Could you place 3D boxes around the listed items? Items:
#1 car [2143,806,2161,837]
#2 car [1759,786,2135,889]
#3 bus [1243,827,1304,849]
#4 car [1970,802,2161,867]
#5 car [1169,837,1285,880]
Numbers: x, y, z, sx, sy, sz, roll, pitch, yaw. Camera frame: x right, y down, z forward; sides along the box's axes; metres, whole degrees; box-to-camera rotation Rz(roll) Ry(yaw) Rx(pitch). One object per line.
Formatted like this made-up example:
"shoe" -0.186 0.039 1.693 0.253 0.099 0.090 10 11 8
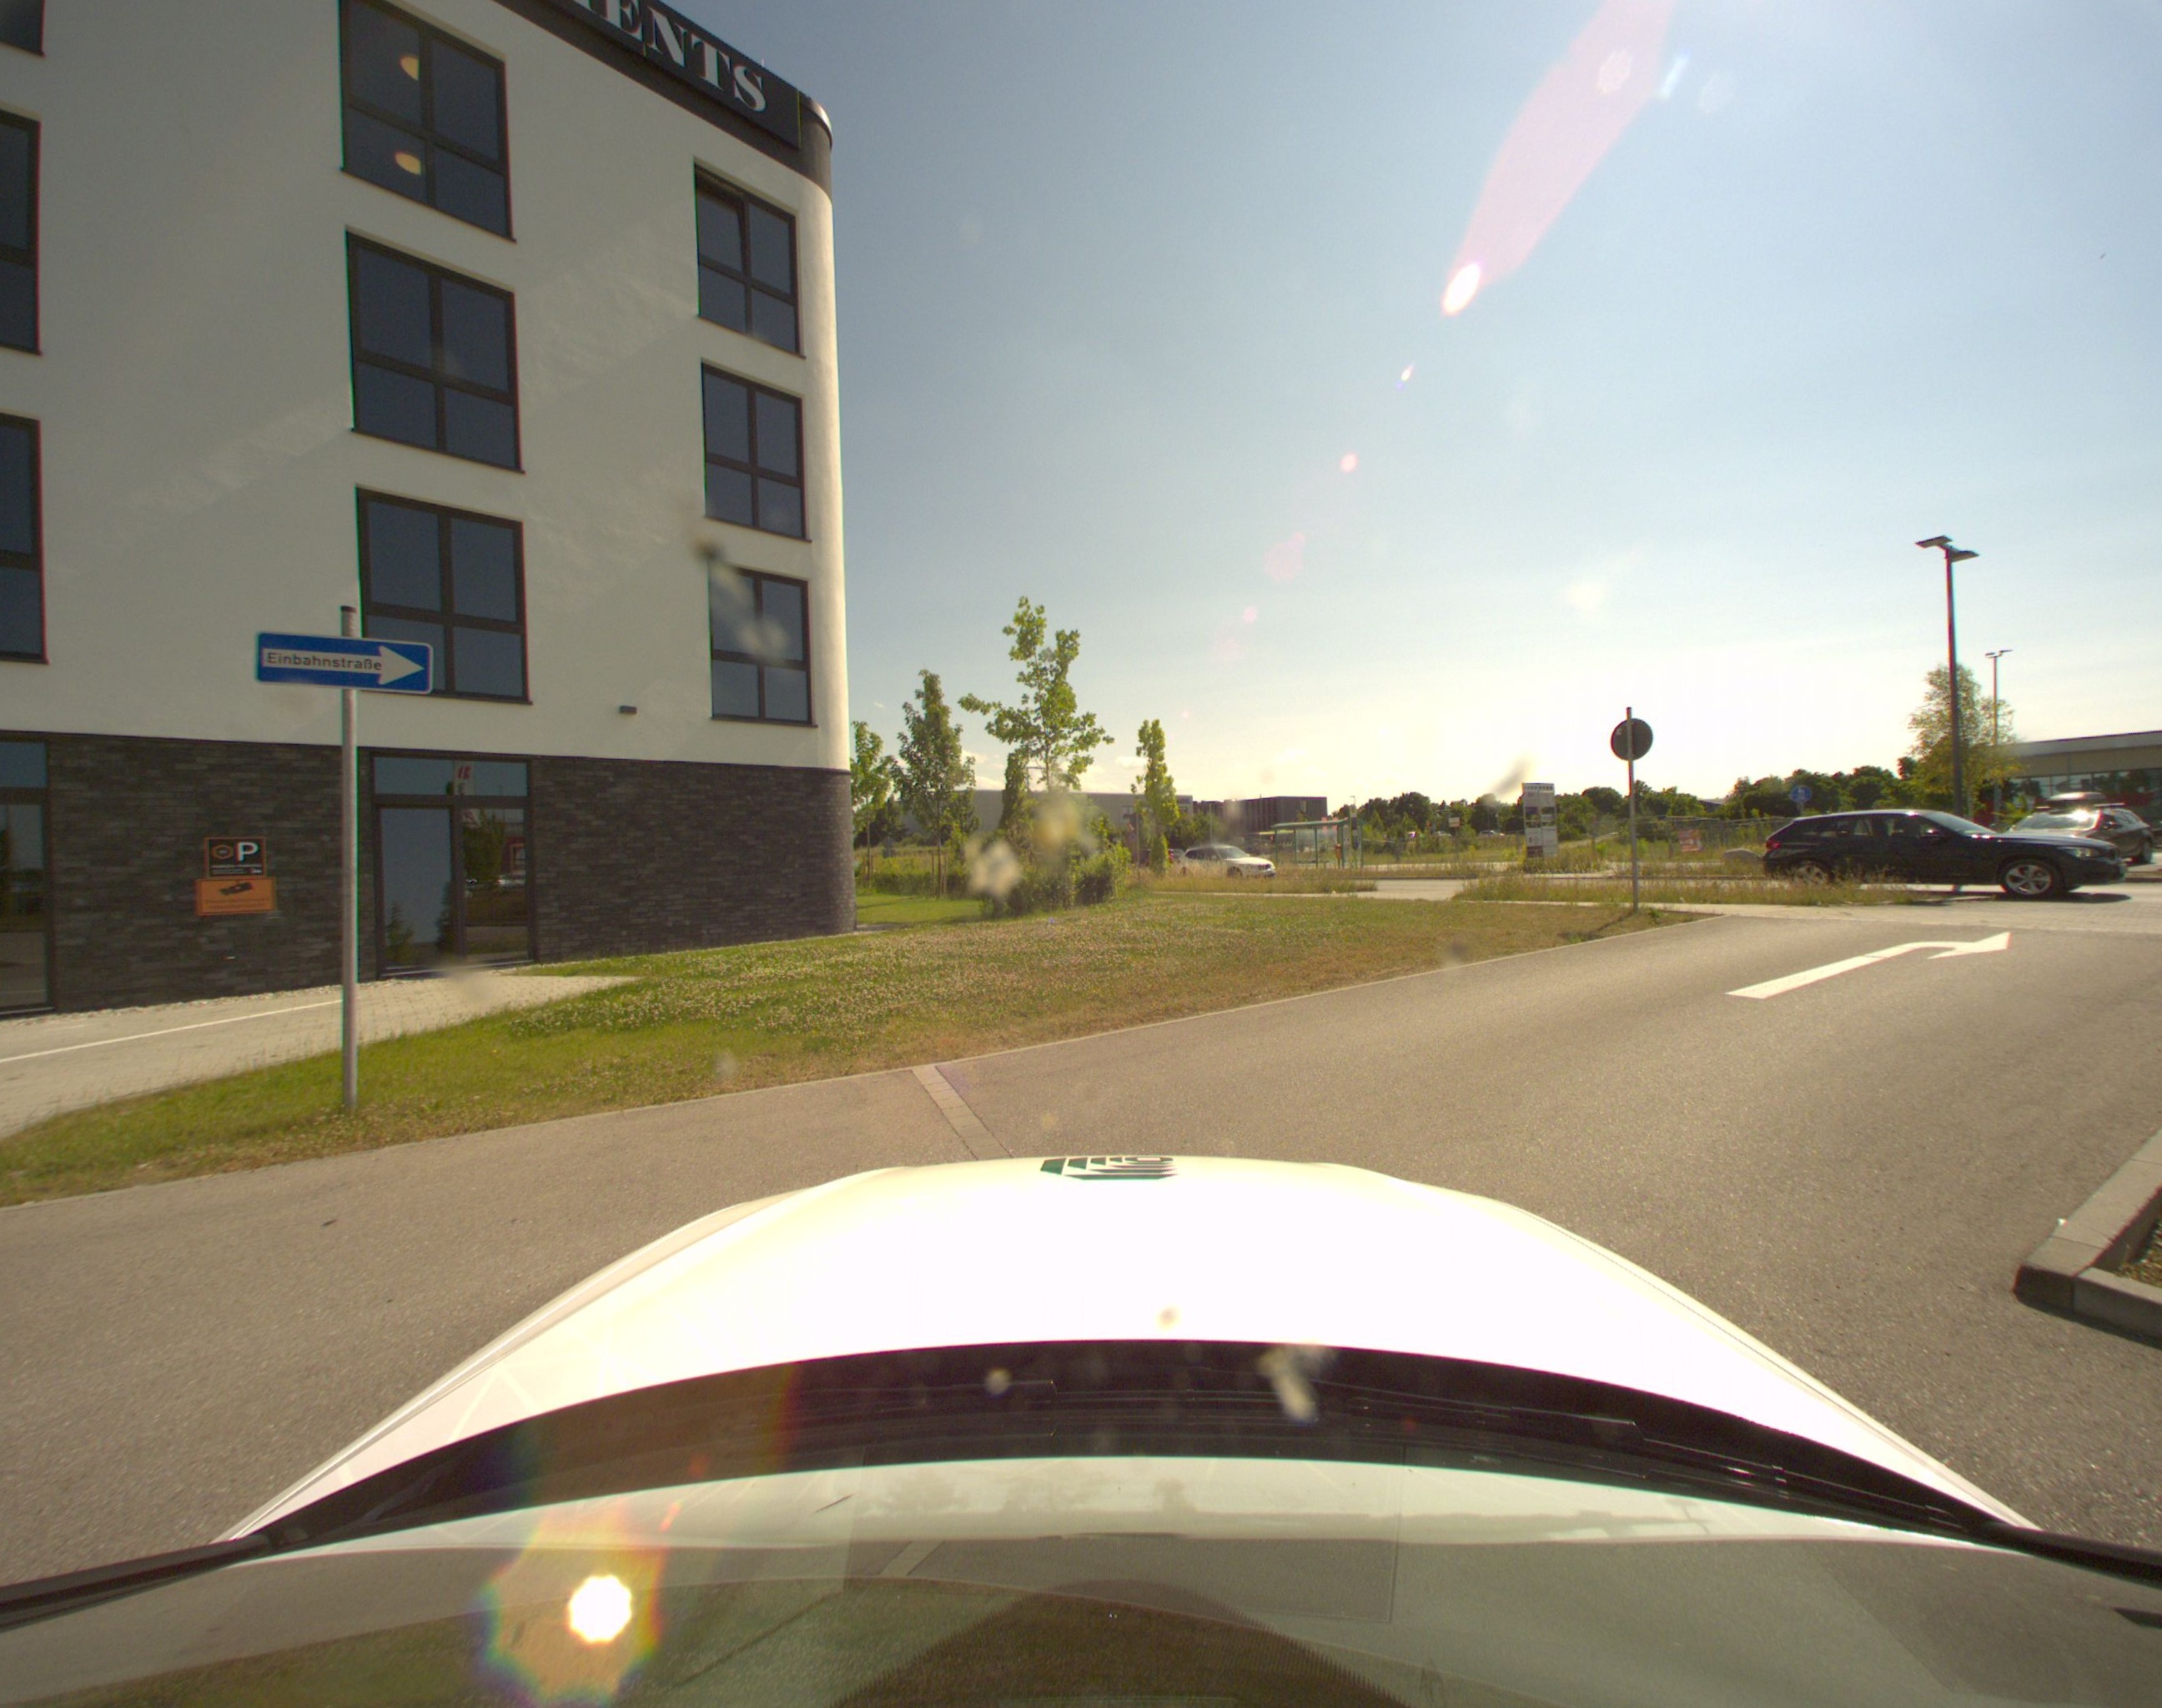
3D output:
"car" 51.198 -1.528 36.822 1.779 1.423 3.804 -2 0 -34
"car" 15.275 -0.252 14.644 1.921 1.551 4.343 -2 0 -33
"bus" 26.877 -2.227 113.233 2.548 2.735 11.638 -1 1 45
"car" 25.472 -0.502 20.803 4.189 1.517 1.991 -1 0 -14
"car" 5.688 0.183 32.166 1.749 1.551 4.519 -2 0 -36
